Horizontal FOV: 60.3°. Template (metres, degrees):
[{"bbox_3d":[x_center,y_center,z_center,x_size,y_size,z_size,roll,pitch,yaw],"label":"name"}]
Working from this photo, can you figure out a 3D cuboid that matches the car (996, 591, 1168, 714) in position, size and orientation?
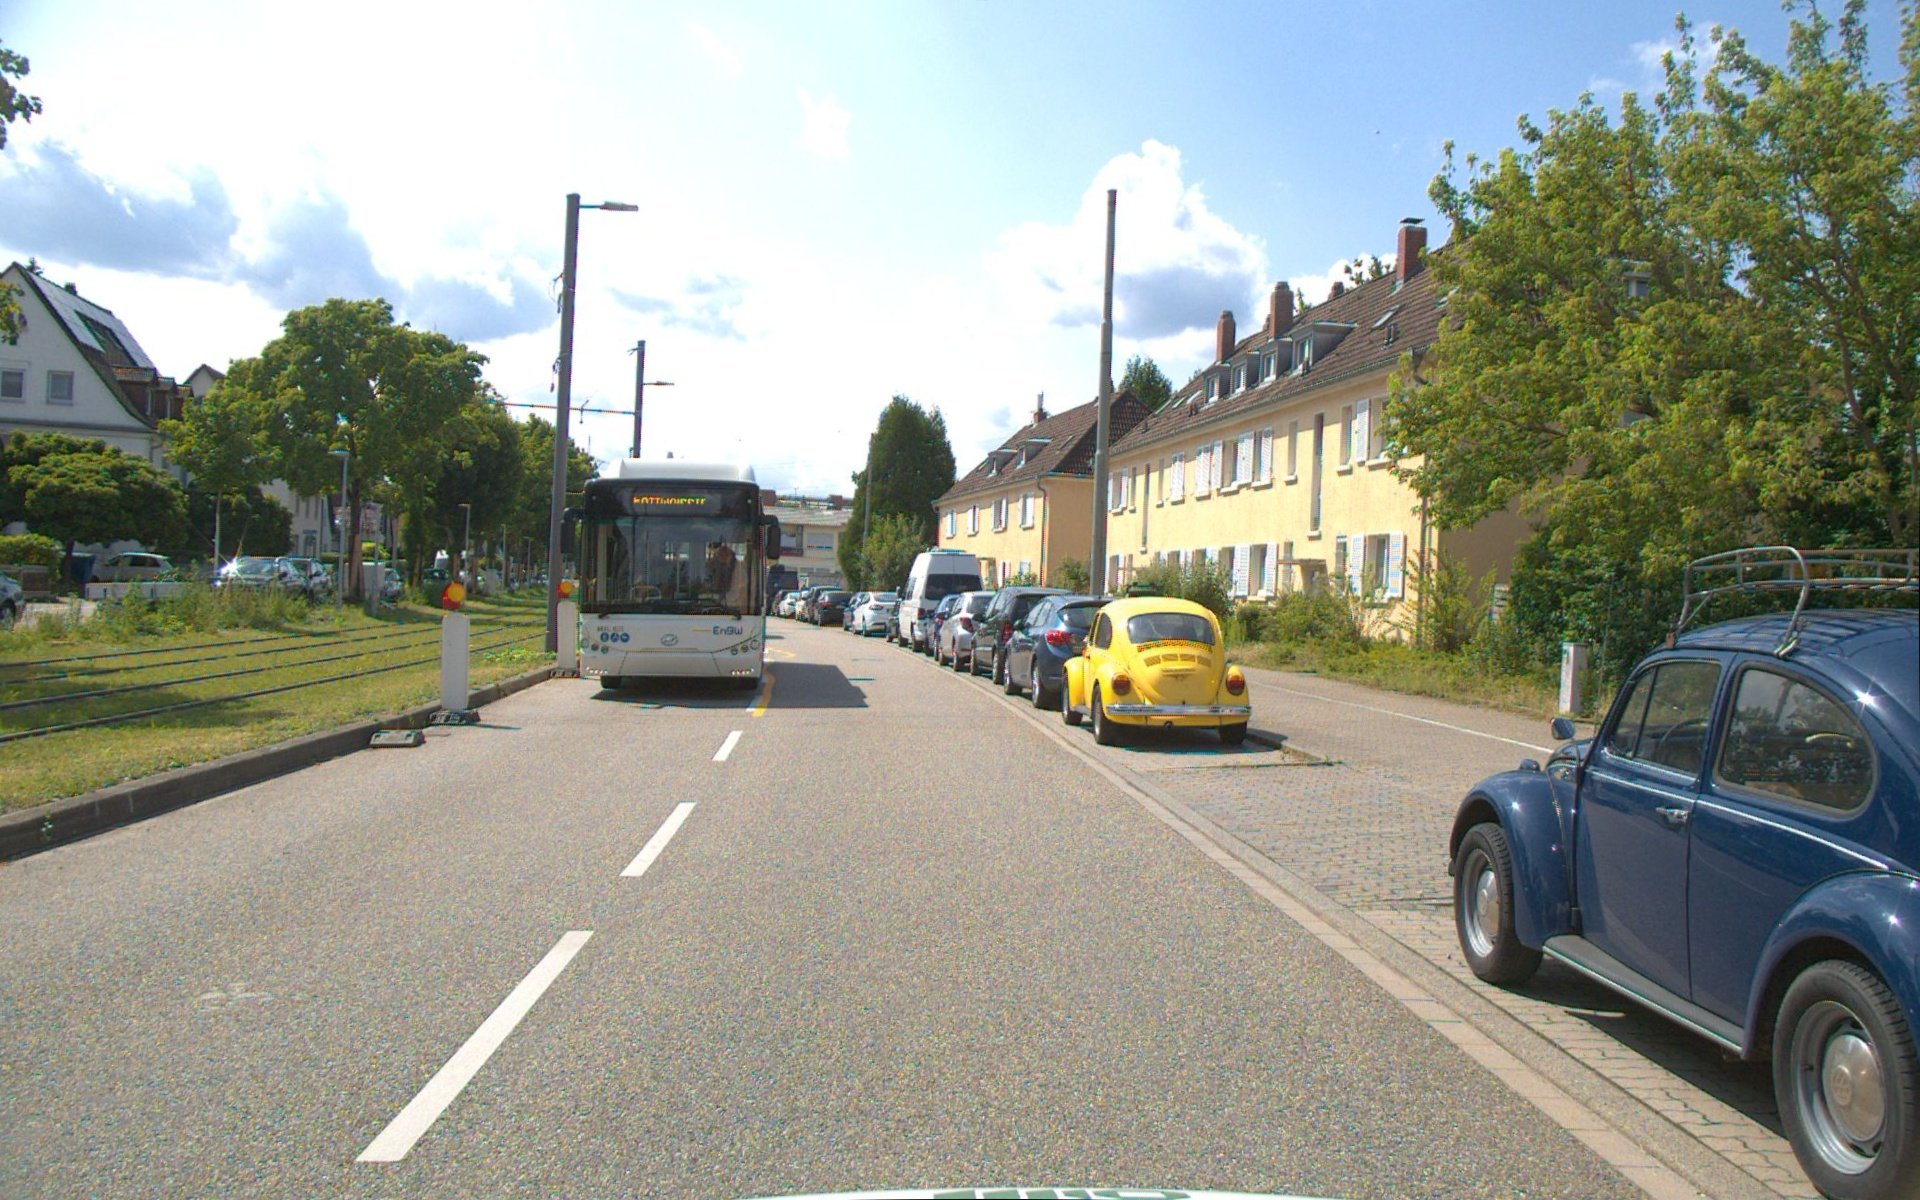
[{"bbox_3d":[1.611,0.662,23.188,1.605,1.508,4.118,2,0,-7],"label":"car"}]

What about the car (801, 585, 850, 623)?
[{"bbox_3d":[-6.086,0.159,74.437,1.732,1.672,3.989,0,0,-11],"label":"car"}]

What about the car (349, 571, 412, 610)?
[{"bbox_3d":[-23.547,-0.392,67.369,1.697,1.531,4.557,0,0,-10],"label":"car"}]

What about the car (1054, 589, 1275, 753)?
[{"bbox_3d":[2.084,0.669,17.850,1.604,1.508,3.928,-1,1,-5],"label":"car"}]

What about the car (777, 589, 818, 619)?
[{"bbox_3d":[-8.392,0.185,85.310,1.732,1.465,3.989,0,0,-11],"label":"car"}]

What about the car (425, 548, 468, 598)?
[{"bbox_3d":[-29.792,-1.567,96.087,2.039,2.768,6.974,0,0,-15],"label":"car"}]

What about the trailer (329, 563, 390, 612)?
[{"bbox_3d":[-22.139,-0.468,61.039,1.537,1.707,3.363,2,0,-11],"label":"trailer"}]

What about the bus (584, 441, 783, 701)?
[{"bbox_3d":[-4.381,-0.425,28.421,2.585,3.472,12.232,1,0,-6],"label":"bus"}]

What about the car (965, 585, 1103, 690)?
[{"bbox_3d":[1.209,0.596,28.615,1.606,1.630,3.924,2,0,-9],"label":"car"}]

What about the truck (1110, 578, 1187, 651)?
[{"bbox_3d":[4.629,0.348,40.920,1.320,1.718,2.437,2,0,-7],"label":"truck"}]

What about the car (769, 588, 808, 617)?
[{"bbox_3d":[-9.395,0.107,90.378,1.732,1.529,3.989,0,0,-11],"label":"car"}]

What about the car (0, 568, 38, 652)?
[{"bbox_3d":[-17.246,0.143,27.260,1.784,1.430,4.806,2,0,-6],"label":"car"}]

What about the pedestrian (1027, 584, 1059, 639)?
[{"bbox_3d":[2.617,0.348,52.187,0.837,1.680,0.636,3,0,-6],"label":"pedestrian"}]

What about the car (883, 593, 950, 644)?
[{"bbox_3d":[-1.289,0.525,47.499,1.317,1.364,3.278,2,-1,-12],"label":"car"}]

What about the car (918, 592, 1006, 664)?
[{"bbox_3d":[0.006,0.592,37.343,1.507,1.470,3.732,2,0,-7],"label":"car"}]

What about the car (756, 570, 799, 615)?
[{"bbox_3d":[-10.674,-0.430,96.322,1.925,2.522,6.042,0,0,-12],"label":"car"}]

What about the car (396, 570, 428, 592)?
[{"bbox_3d":[-42.194,-1.470,127.438,1.845,1.580,4.385,2,0,-12],"label":"car"}]

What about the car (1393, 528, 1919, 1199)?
[{"bbox_3d":[2.918,0.685,5.499,1.518,1.669,4.243,2,0,-4],"label":"car"}]

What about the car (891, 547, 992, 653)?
[{"bbox_3d":[-0.559,-0.003,42.672,1.893,2.524,5.508,1,0,-8],"label":"car"}]

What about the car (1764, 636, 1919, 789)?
[{"bbox_3d":[10.004,1.141,16.964,1.602,1.379,4.089,2,0,2],"label":"car"}]

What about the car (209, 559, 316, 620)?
[{"bbox_3d":[-19.484,-0.289,46.365,1.778,1.614,4.557,0,0,-10],"label":"car"}]

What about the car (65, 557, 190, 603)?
[{"bbox_3d":[-32.004,-0.767,63.686,3.919,1.598,1.788,2,0,-14],"label":"car"}]

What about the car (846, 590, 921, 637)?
[{"bbox_3d":[-2.597,0.444,55.215,1.767,1.483,4.751,0,0,-12],"label":"car"}]

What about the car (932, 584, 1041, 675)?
[{"bbox_3d":[0.462,0.540,32.749,1.605,1.630,4.023,2,0,-7],"label":"car"}]

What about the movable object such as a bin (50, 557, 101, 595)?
[{"bbox_3d":[-32.896,-0.880,61.518,1.334,1.352,1.086,2,0,-10],"label":"movable object such as a bin"}]

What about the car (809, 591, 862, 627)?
[{"bbox_3d":[-5.247,0.350,69.363,1.732,1.442,3.989,0,0,-11],"label":"car"}]
